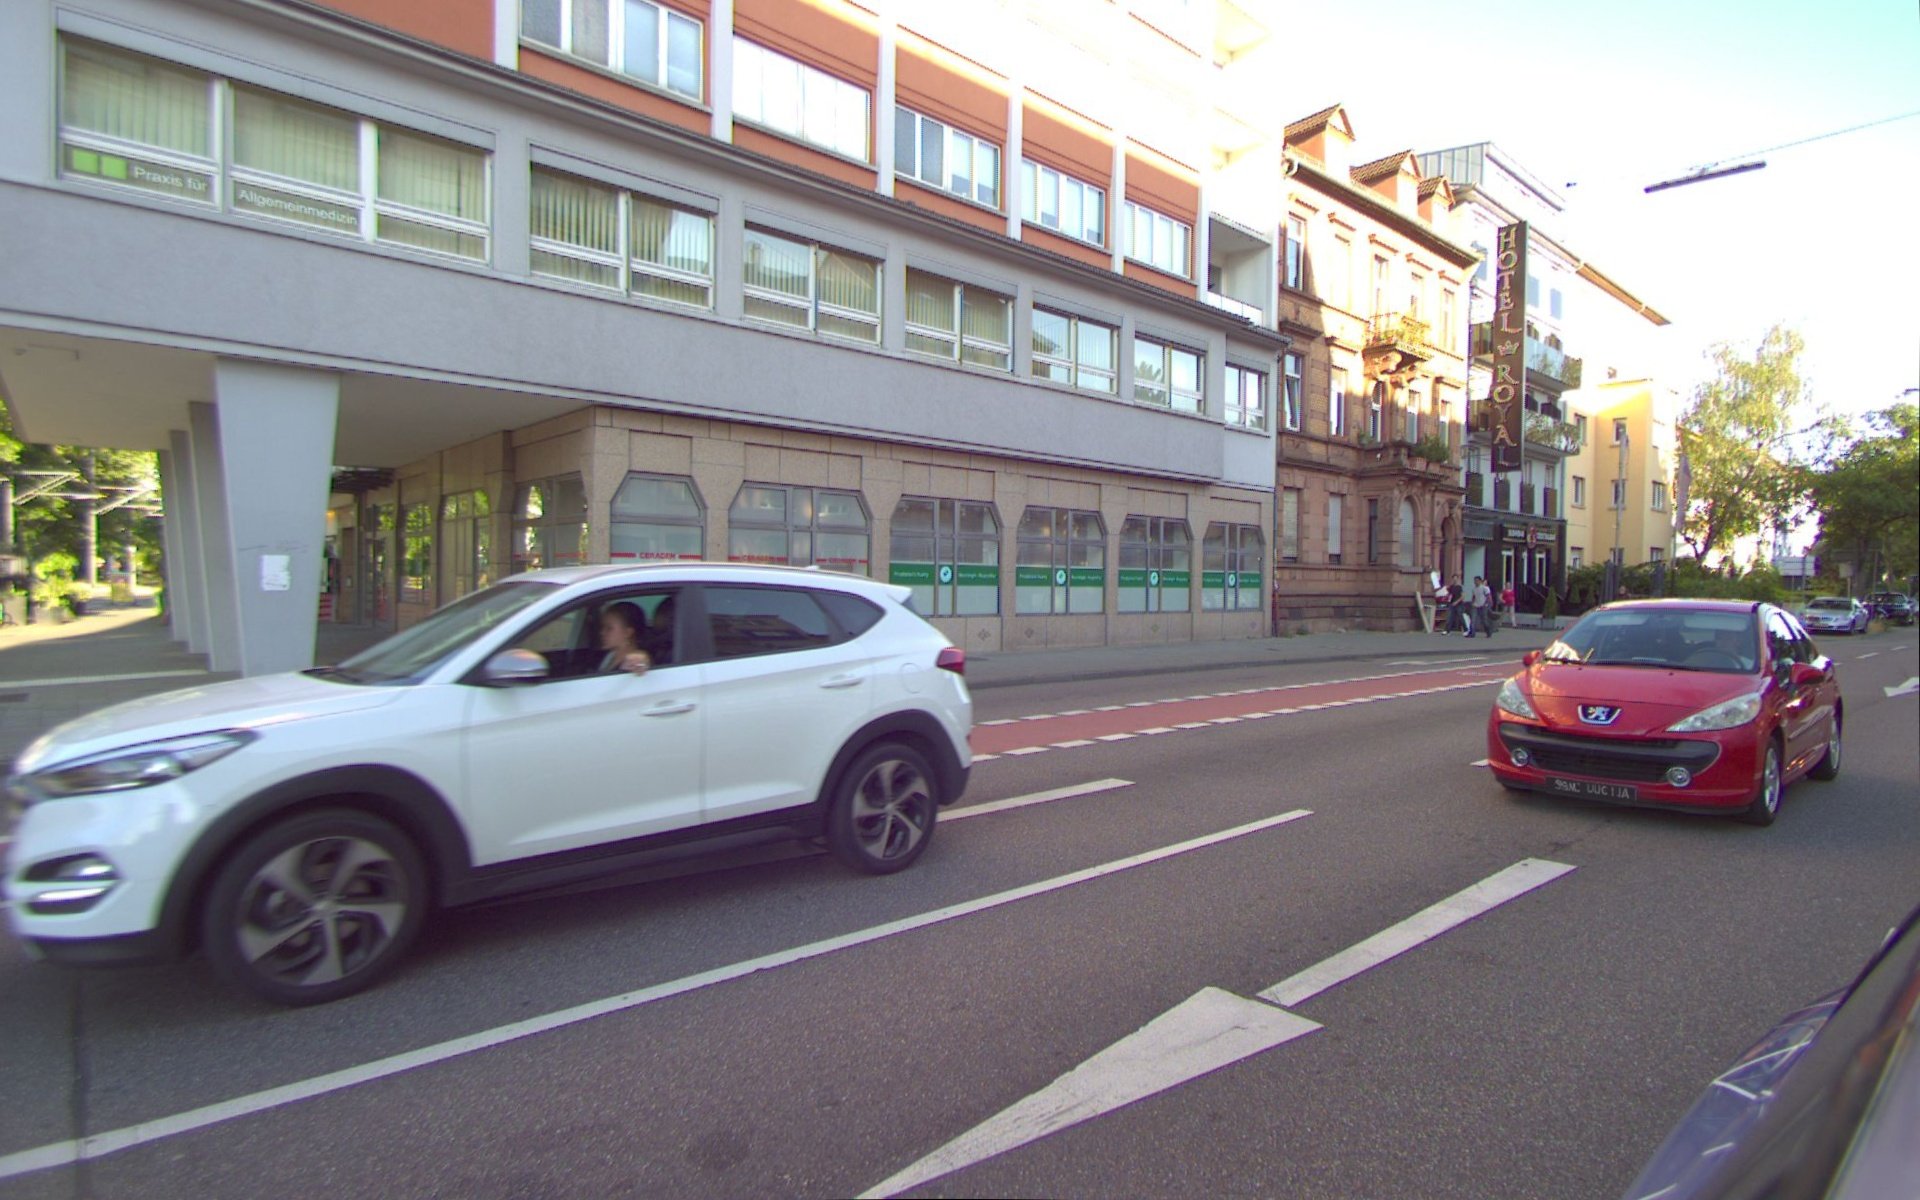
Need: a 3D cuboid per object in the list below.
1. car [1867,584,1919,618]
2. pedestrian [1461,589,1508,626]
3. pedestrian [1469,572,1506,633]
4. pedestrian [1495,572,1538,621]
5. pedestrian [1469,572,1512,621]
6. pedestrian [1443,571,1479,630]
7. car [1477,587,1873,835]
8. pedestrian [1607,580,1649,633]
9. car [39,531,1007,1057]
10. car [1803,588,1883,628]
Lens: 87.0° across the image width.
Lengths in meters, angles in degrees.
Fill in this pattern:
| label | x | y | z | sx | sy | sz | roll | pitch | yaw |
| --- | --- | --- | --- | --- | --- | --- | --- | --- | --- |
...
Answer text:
| label | x | y | z | sx | sy | sz | roll | pitch | yaw |
| --- | --- | --- | --- | --- | --- | --- | --- | --- | --- |
| car | 47.571 | 0.025 | 51.281 | 4.121 | 1.645 | 1.946 | 0 | 1 | -41 |
| pedestrian | 16.933 | 0.227 | 32.697 | 0.909 | 1.150 | 1.099 | 0 | 1 | -43 |
| pedestrian | 15.629 | 0.064 | 29.957 | 0.994 | 1.748 | 0.667 | 0 | 0 | -43 |
| pedestrian | 19.551 | -0.125 | 35.594 | 0.723 | 1.606 | 1.014 | 2 | 4 | -12 |
| pedestrian | 18.727 | -0.144 | 35.725 | 0.771 | 1.606 | 1.013 | 2 | 4 | -9 |
| pedestrian | 15.142 | 0.000 | 30.583 | 0.666 | 1.747 | 0.995 | 2 | 1 | 43 |
| car | 5.785 | 0.647 | 8.008 | 3.930 | 1.481 | 1.673 | -1 | 0 | -41 |
| pedestrian | 21.446 | 0.205 | 32.484 | 0.992 | 1.621 | 0.739 | 0 | 4 | -37 |
| car | -1.918 | 0.575 | 5.259 | 4.196 | 1.627 | 1.919 | -1 | 0 | -42 |
| car | 35.865 | 0.292 | 41.087 | 4.003 | 1.536 | 1.905 | 0 | 1 | -41 |
